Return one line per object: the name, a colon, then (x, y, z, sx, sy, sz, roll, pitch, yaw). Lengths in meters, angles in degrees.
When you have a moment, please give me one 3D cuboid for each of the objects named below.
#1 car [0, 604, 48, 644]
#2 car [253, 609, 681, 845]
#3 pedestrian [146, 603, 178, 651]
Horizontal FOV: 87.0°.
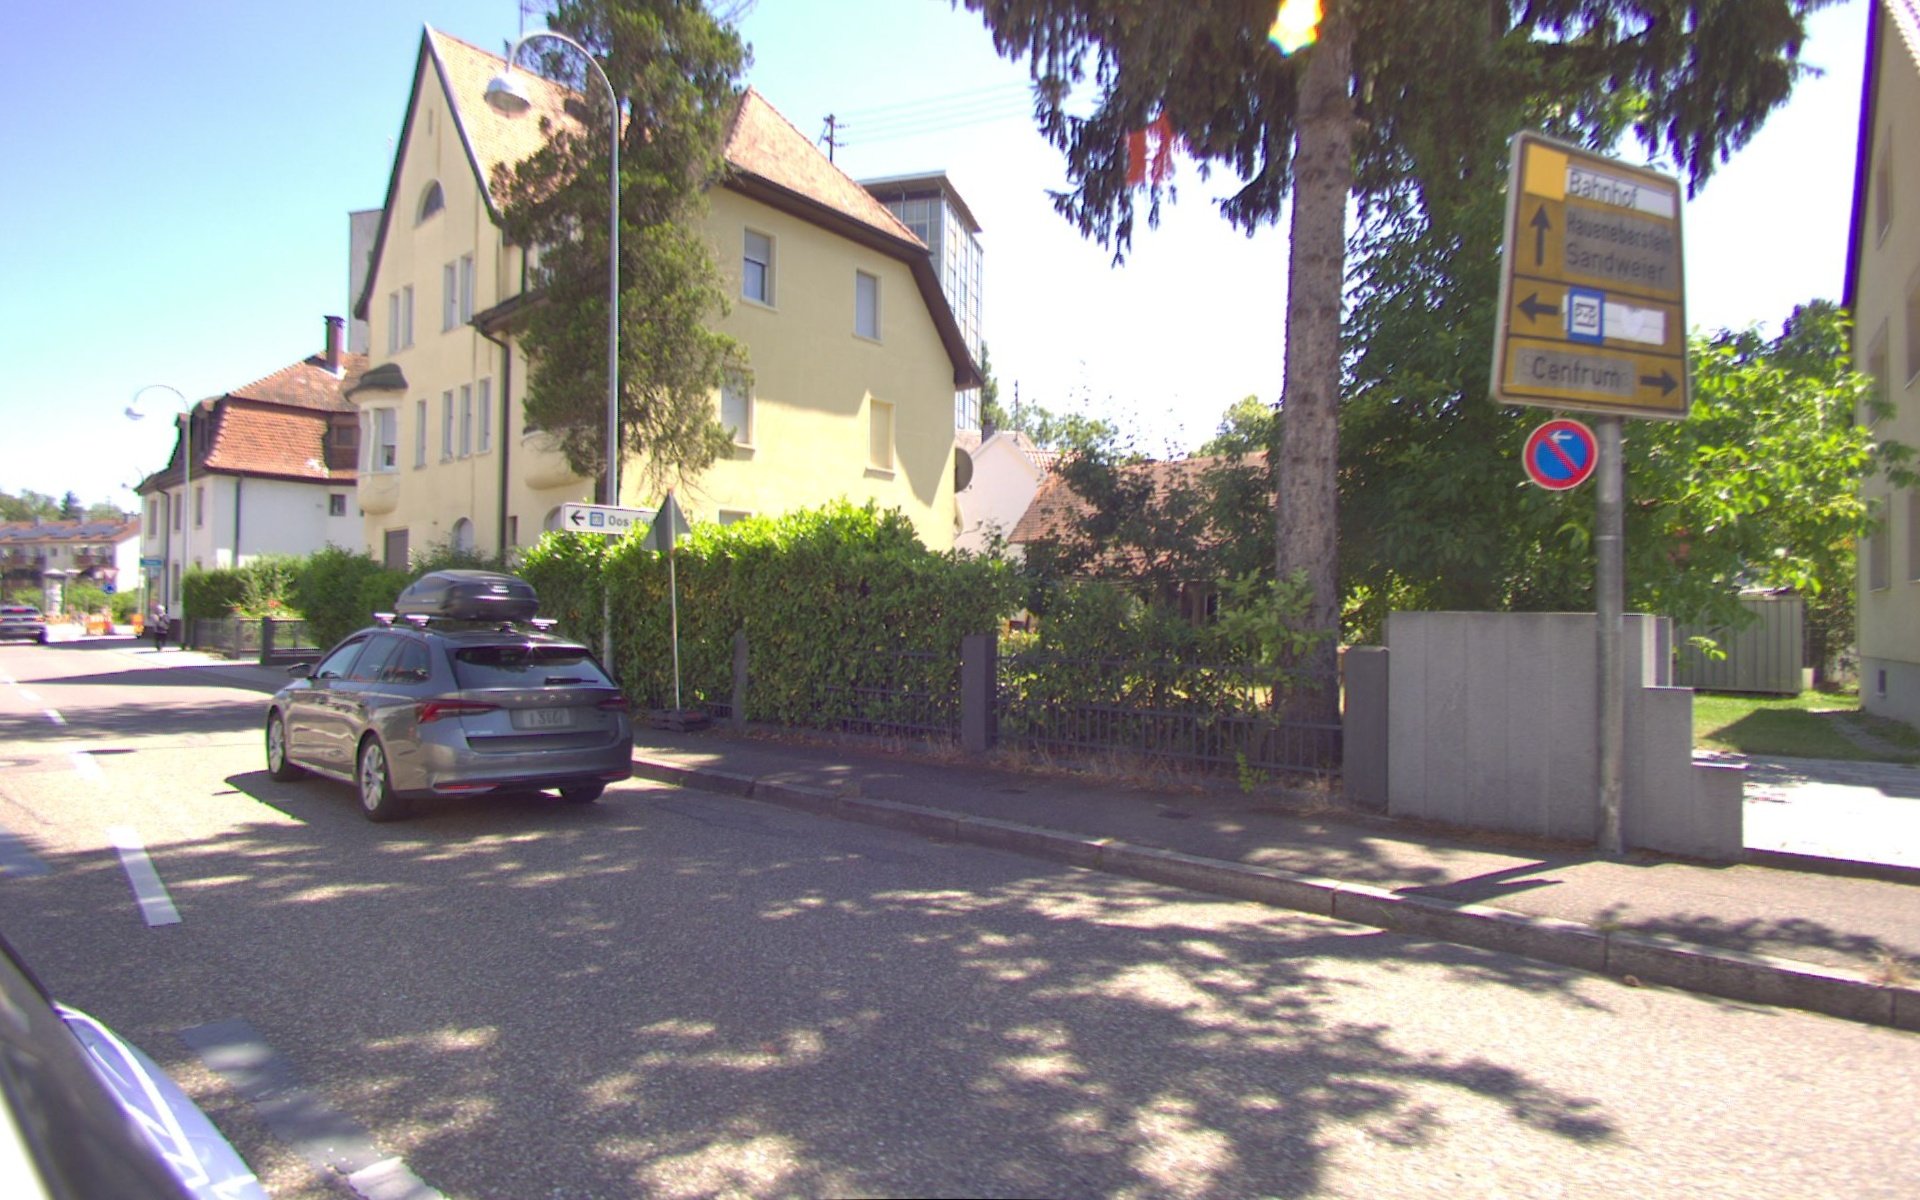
car: (-39.767, 0.969, 42.540, 4.298, 1.629, 1.833, 0, -1, 44)
car: (-4.372, 0.871, 8.623, 4.387, 1.500, 1.786, -1, -3, 43)
pedestrian: (-27.342, 0.926, 34.674, 0.824, 1.576, 0.607, 0, 4, 41)
